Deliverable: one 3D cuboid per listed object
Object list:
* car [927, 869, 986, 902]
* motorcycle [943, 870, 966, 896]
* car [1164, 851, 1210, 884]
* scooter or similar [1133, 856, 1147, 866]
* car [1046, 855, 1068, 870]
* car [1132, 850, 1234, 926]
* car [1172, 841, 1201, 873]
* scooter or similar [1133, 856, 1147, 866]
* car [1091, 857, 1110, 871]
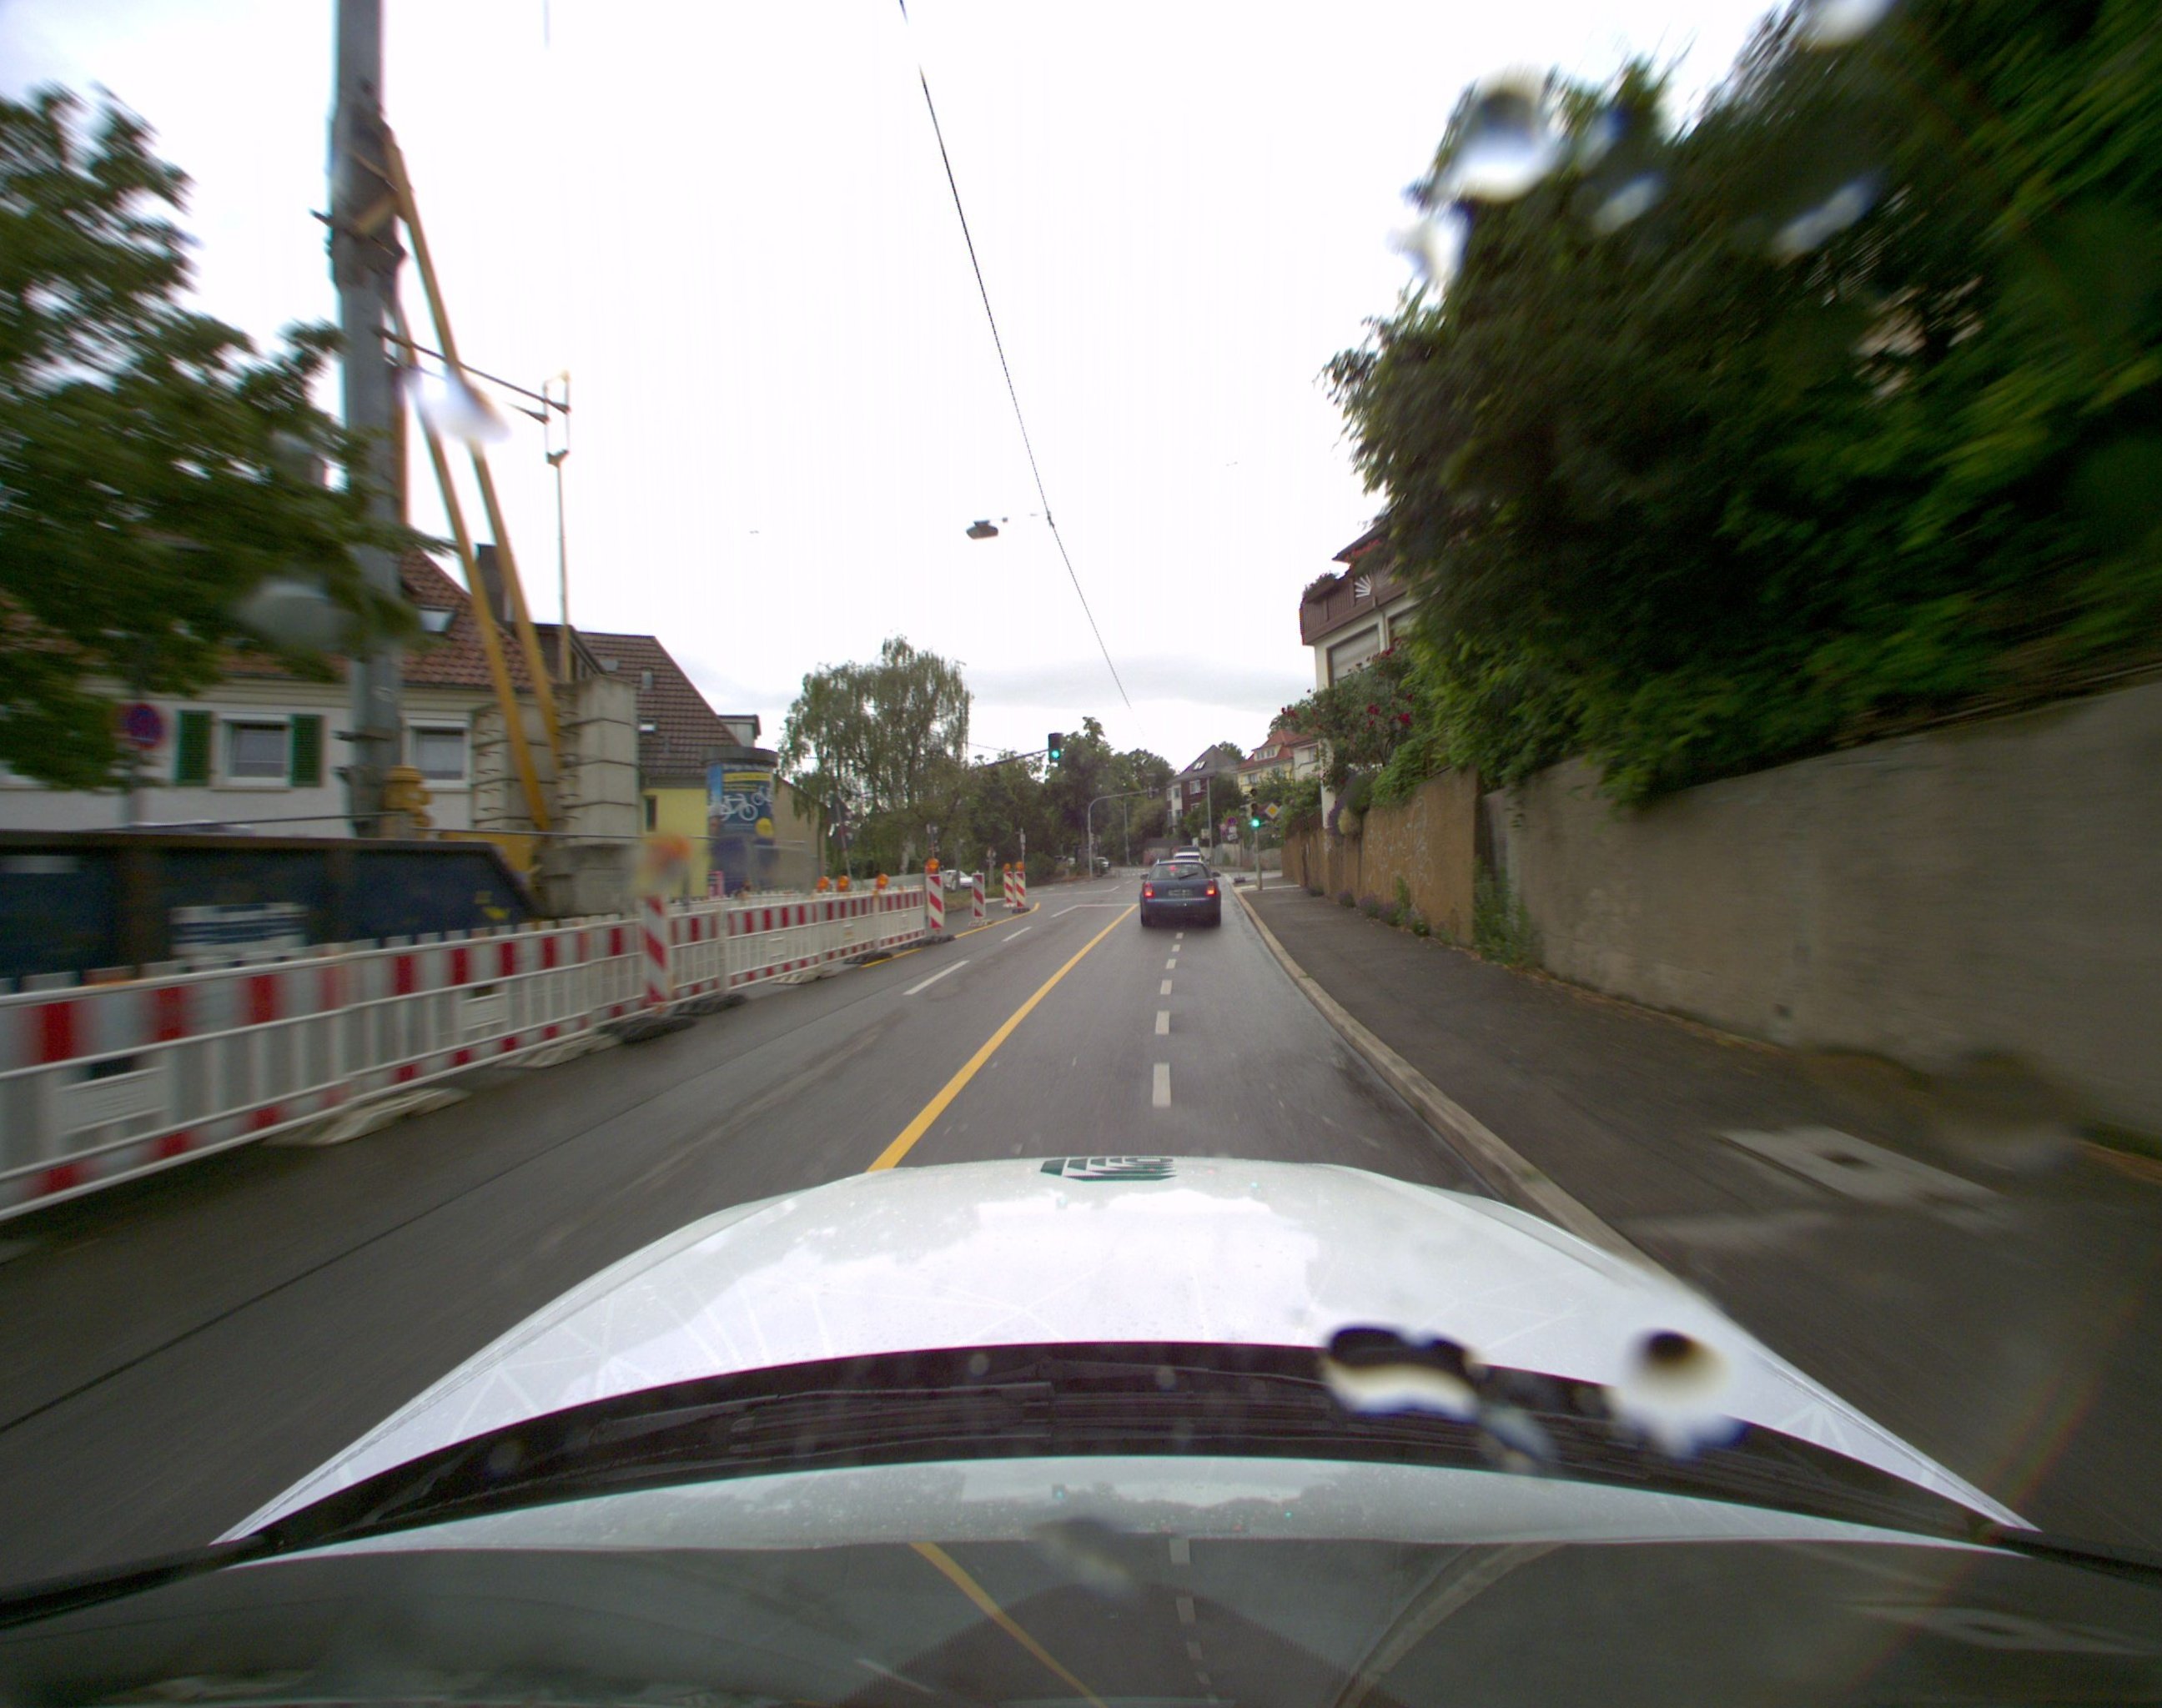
[{"bbox_3d":[-7.120,1.804,46.294,1.696,1.509,3.968,-5,-2,-34],"label":"car"},{"bbox_3d":[-6.160,1.394,39.671,0.587,1.131,1.846,-4,0,6],"label":"motorcycle"},{"bbox_3d":[4.846,0.615,36.929,1.897,1.388,4.361,0,-1,9],"label":"car"},{"bbox_3d":[8.248,0.921,113.449,1.830,1.315,0.599,2,-4,-4],"label":"scooter or similar"},{"bbox_3d":[-3.147,1.138,105.290,1.840,1.843,3.881,-4,0,-16],"label":"car"},{"bbox_3d":[2.443,0.701,18.669,1.764,1.439,4.016,-2,0,14],"label":"car"},{"bbox_3d":[6.941,0.198,53.478,1.721,1.894,4.064,-4,0,8],"label":"car"},{"bbox_3d":[8.245,1.043,114.465,1.830,1.315,0.599,2,-4,-4],"label":"scooter or similar"},{"bbox_3d":[2.085,1.064,88.580,1.670,1.426,3.994,-4,0,-4],"label":"car"}]
